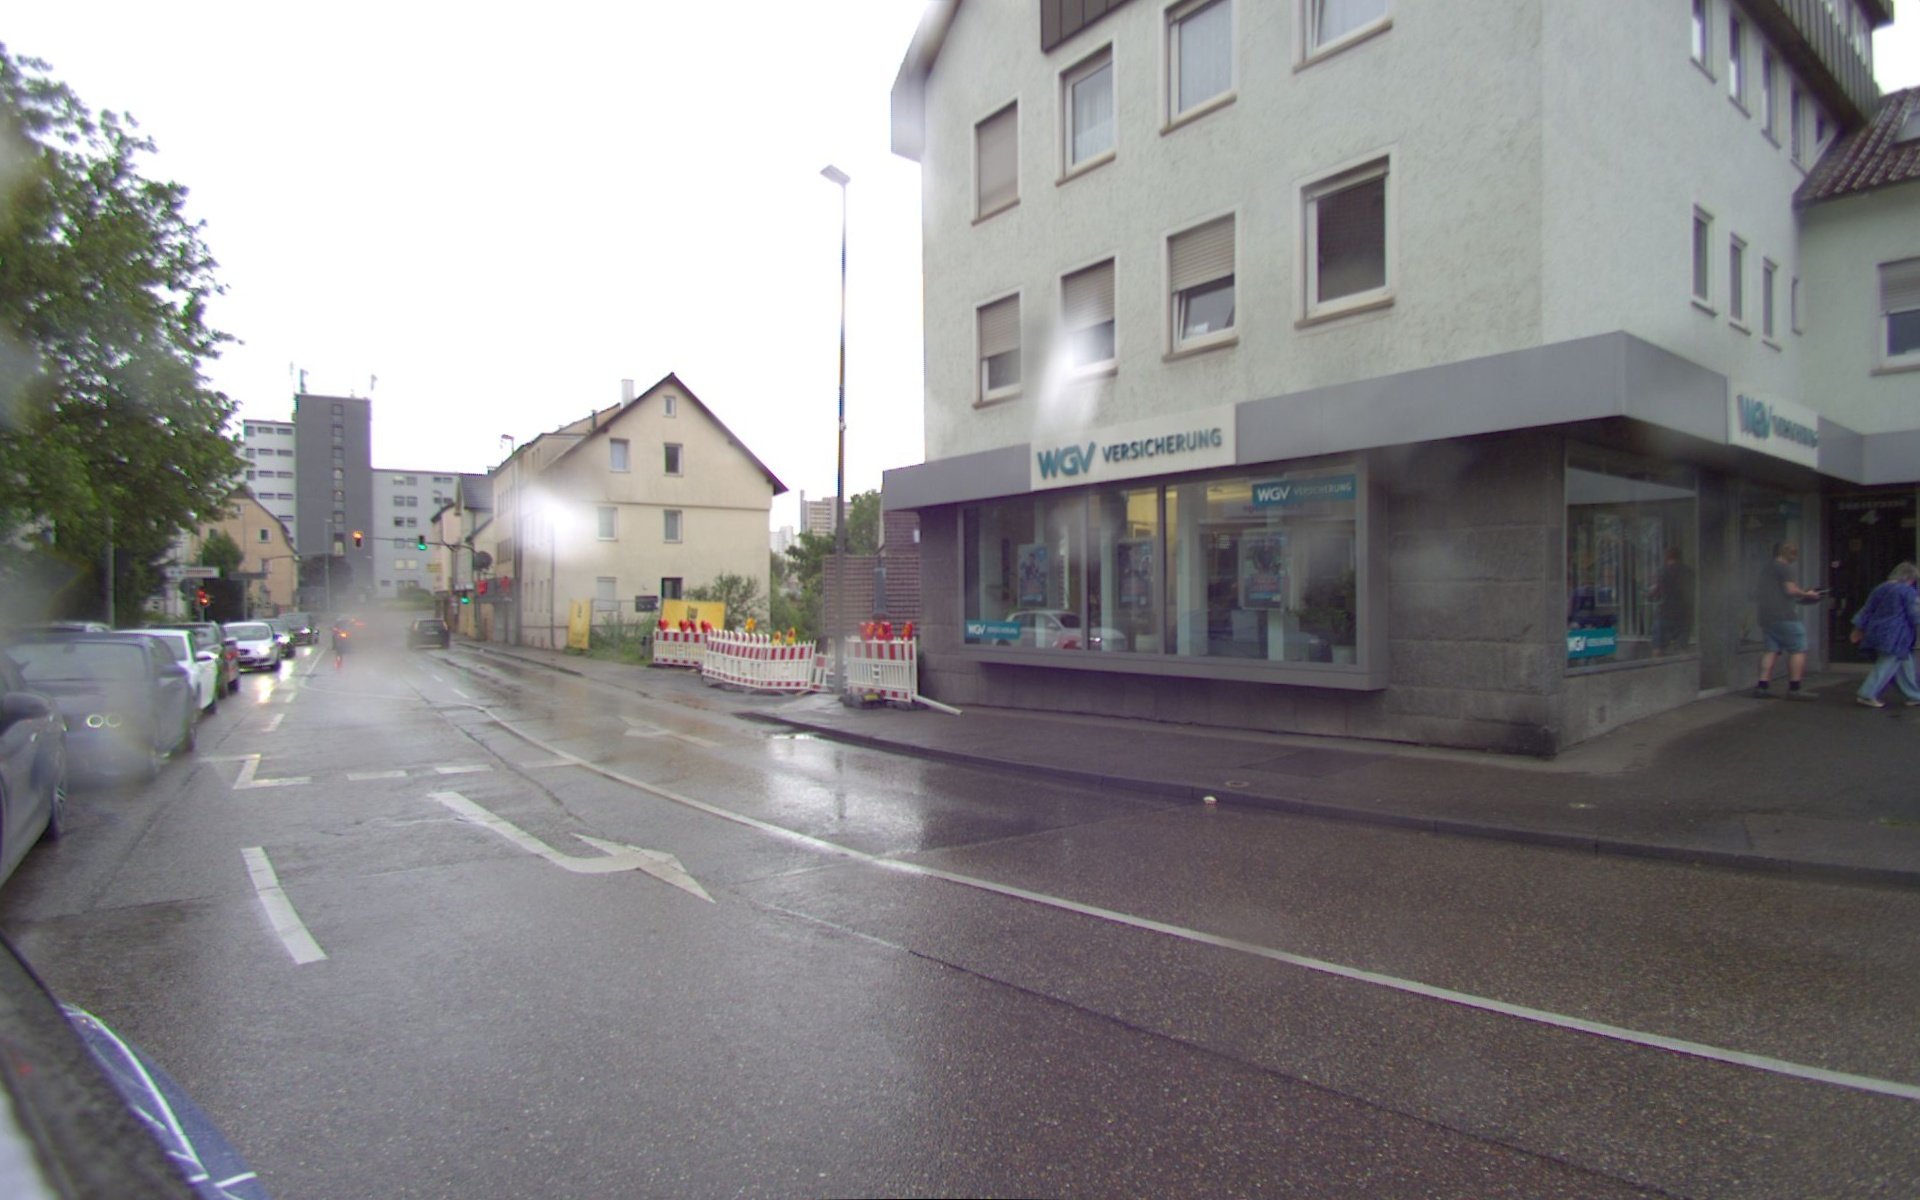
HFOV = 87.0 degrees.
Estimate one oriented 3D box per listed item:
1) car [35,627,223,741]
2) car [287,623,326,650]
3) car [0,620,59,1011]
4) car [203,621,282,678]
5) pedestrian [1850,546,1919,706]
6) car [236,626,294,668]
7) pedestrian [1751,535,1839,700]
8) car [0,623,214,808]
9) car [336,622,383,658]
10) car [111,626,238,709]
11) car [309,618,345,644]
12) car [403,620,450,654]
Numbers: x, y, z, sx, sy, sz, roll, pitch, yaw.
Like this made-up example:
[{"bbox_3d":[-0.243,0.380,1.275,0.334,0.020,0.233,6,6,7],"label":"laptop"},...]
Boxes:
[{"bbox_3d":[-13.073,1.216,16.167,1.967,1.464,4.010,-2,0,-35],"label":"car"},{"bbox_3d":[-39.492,2.191,61.106,1.824,1.489,4.010,-1,-1,-35],"label":"car"},{"bbox_3d":[-5.824,0.890,4.940,1.968,1.504,4.321,-1,-1,-40],"label":"car"},{"bbox_3d":[-22.636,1.520,32.052,1.814,1.633,4.011,-1,-1,-32],"label":"car"},{"bbox_3d":[10.258,0.265,10.934,0.608,1.684,0.864,-2,0,-43],"label":"pedestrian"},{"bbox_3d":[-28.786,1.918,42.025,1.802,1.563,4.011,-3,0,-32],"label":"car"},{"bbox_3d":[9.677,0.195,11.731,0.608,1.833,0.674,-2,0,-44],"label":"pedestrian"},{"bbox_3d":[-9.138,1.041,10.621,1.745,1.544,4.390,-1,-1,-32],"label":"car"},{"bbox_3d":[-27.824,1.821,46.861,1.784,1.577,4.011,0,-1,-32],"label":"car"},{"bbox_3d":[-16.709,1.359,21.706,1.784,1.577,4.011,0,-1,-32],"label":"car"},{"bbox_3d":[-47.032,2.330,75.193,1.967,1.564,4.009,2,-7,-36],"label":"car"},{"bbox_3d":[-26.794,1.818,50.774,1.784,1.577,4.011,0,-1,-32],"label":"car"}]
